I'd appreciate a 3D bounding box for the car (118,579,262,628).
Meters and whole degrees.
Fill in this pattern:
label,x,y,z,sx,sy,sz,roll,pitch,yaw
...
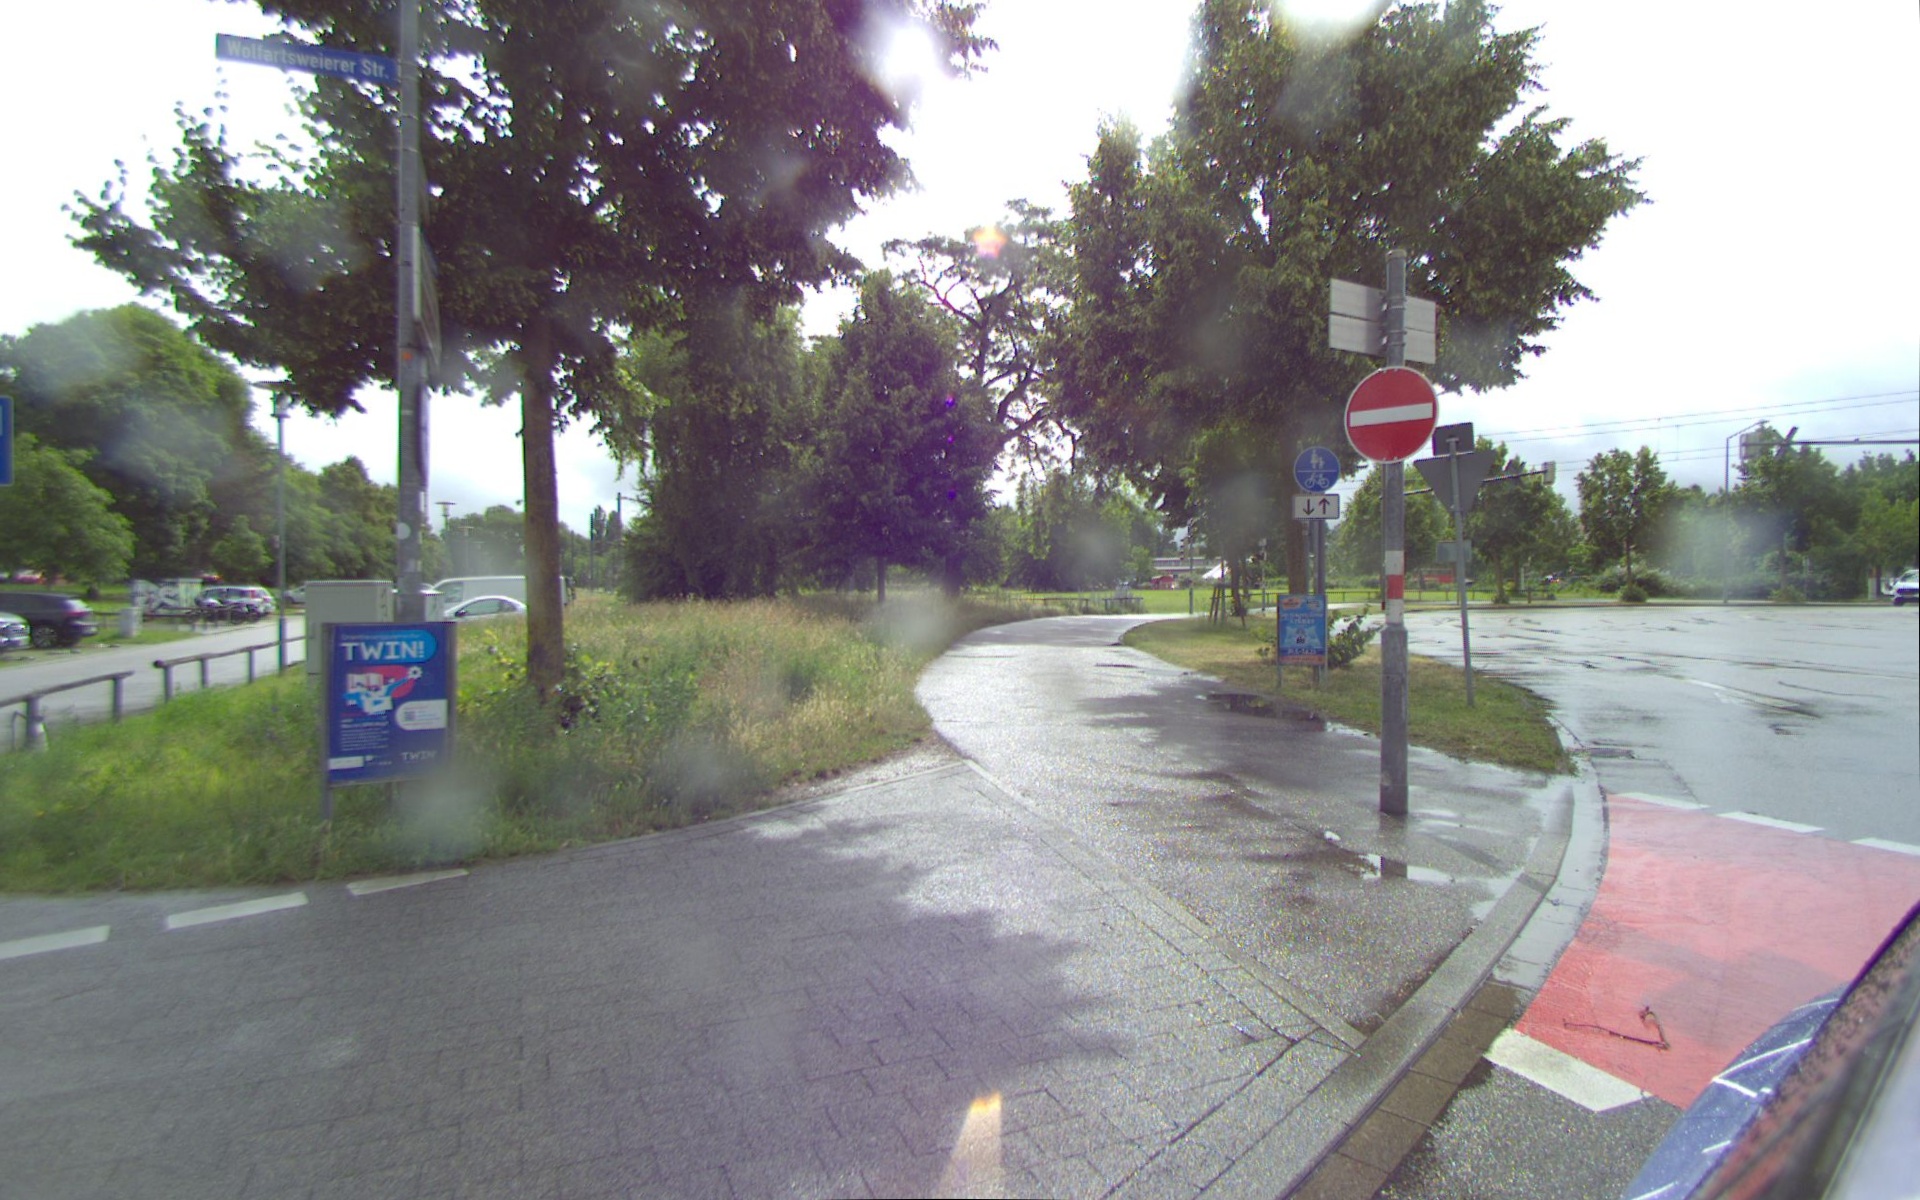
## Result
label,x,y,z,sx,sy,sz,roll,pitch,yaw
car,-31.101,0.104,41.043,4.301,1.873,1.939,-1,1,-26

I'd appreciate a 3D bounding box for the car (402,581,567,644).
label,x,y,z,sx,sy,sz,roll,pitch,yaw
car,-12.805,0.297,27.394,3.918,1.568,1.939,-1,1,-26

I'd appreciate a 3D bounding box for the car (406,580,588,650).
label,x,y,z,sx,sy,sz,roll,pitch,yaw
car,-11.345,0.306,24.919,3.918,1.568,1.939,-1,1,-26

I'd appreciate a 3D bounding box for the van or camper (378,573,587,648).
label,x,y,z,sx,sy,sz,roll,pitch,yaw
van or camper,-14.394,0.259,30.800,5.560,2.131,2.004,-1,0,-24

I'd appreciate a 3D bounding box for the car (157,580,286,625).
label,x,y,z,sx,sy,sz,roll,pitch,yaw
car,-32.531,0.066,44.760,4.301,1.873,1.939,-1,1,-26

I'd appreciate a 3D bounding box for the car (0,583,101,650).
label,x,y,z,sx,sy,sz,roll,pitch,yaw
car,-24.833,0.414,25.999,3.919,1.683,1.618,-1,1,-26

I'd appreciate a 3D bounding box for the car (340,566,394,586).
label,x,y,z,sx,sy,sz,roll,pitch,yaw
car,-57.031,-2.285,97.417,4.301,1.873,1.939,-1,1,-26

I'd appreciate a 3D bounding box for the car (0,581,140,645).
label,x,y,z,sx,sy,sz,roll,pitch,yaw
car,-25.293,0.335,27.869,3.919,1.683,1.618,-1,1,-26

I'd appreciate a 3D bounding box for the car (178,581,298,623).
label,x,y,z,sx,sy,sz,roll,pitch,yaw
car,-33.827,0.050,47.555,4.301,1.873,1.939,-1,1,-26

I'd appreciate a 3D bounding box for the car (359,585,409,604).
label,x,y,z,sx,sy,sz,roll,pitch,yaw
car,-59.869,-0.627,105.265,4.301,1.873,1.939,-1,1,-26

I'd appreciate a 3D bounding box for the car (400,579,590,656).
label,x,y,z,sx,sy,sz,roll,pitch,yaw
car,-10.281,0.317,22.520,3.694,1.568,1.939,-1,1,-26

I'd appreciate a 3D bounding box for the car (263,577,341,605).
label,x,y,z,sx,sy,sz,roll,pitch,yaw
car,-45.258,-0.621,69.720,4.301,1.873,1.939,-1,1,-26

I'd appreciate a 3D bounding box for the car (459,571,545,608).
label,x,y,z,sx,sy,sz,roll,pitch,yaw
car,-24.857,-0.605,55.011,4.185,1.952,1.939,-1,1,-26

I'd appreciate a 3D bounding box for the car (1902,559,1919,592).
label,x,y,z,sx,sy,sz,roll,pitch,yaw
car,51.874,-1.288,53.029,4.140,1.735,1.897,-1,2,-18

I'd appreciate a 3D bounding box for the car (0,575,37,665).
label,x,y,z,sx,sy,sz,roll,pitch,yaw
car,-22.207,0.426,21.044,4.047,1.873,1.939,-1,1,-26
